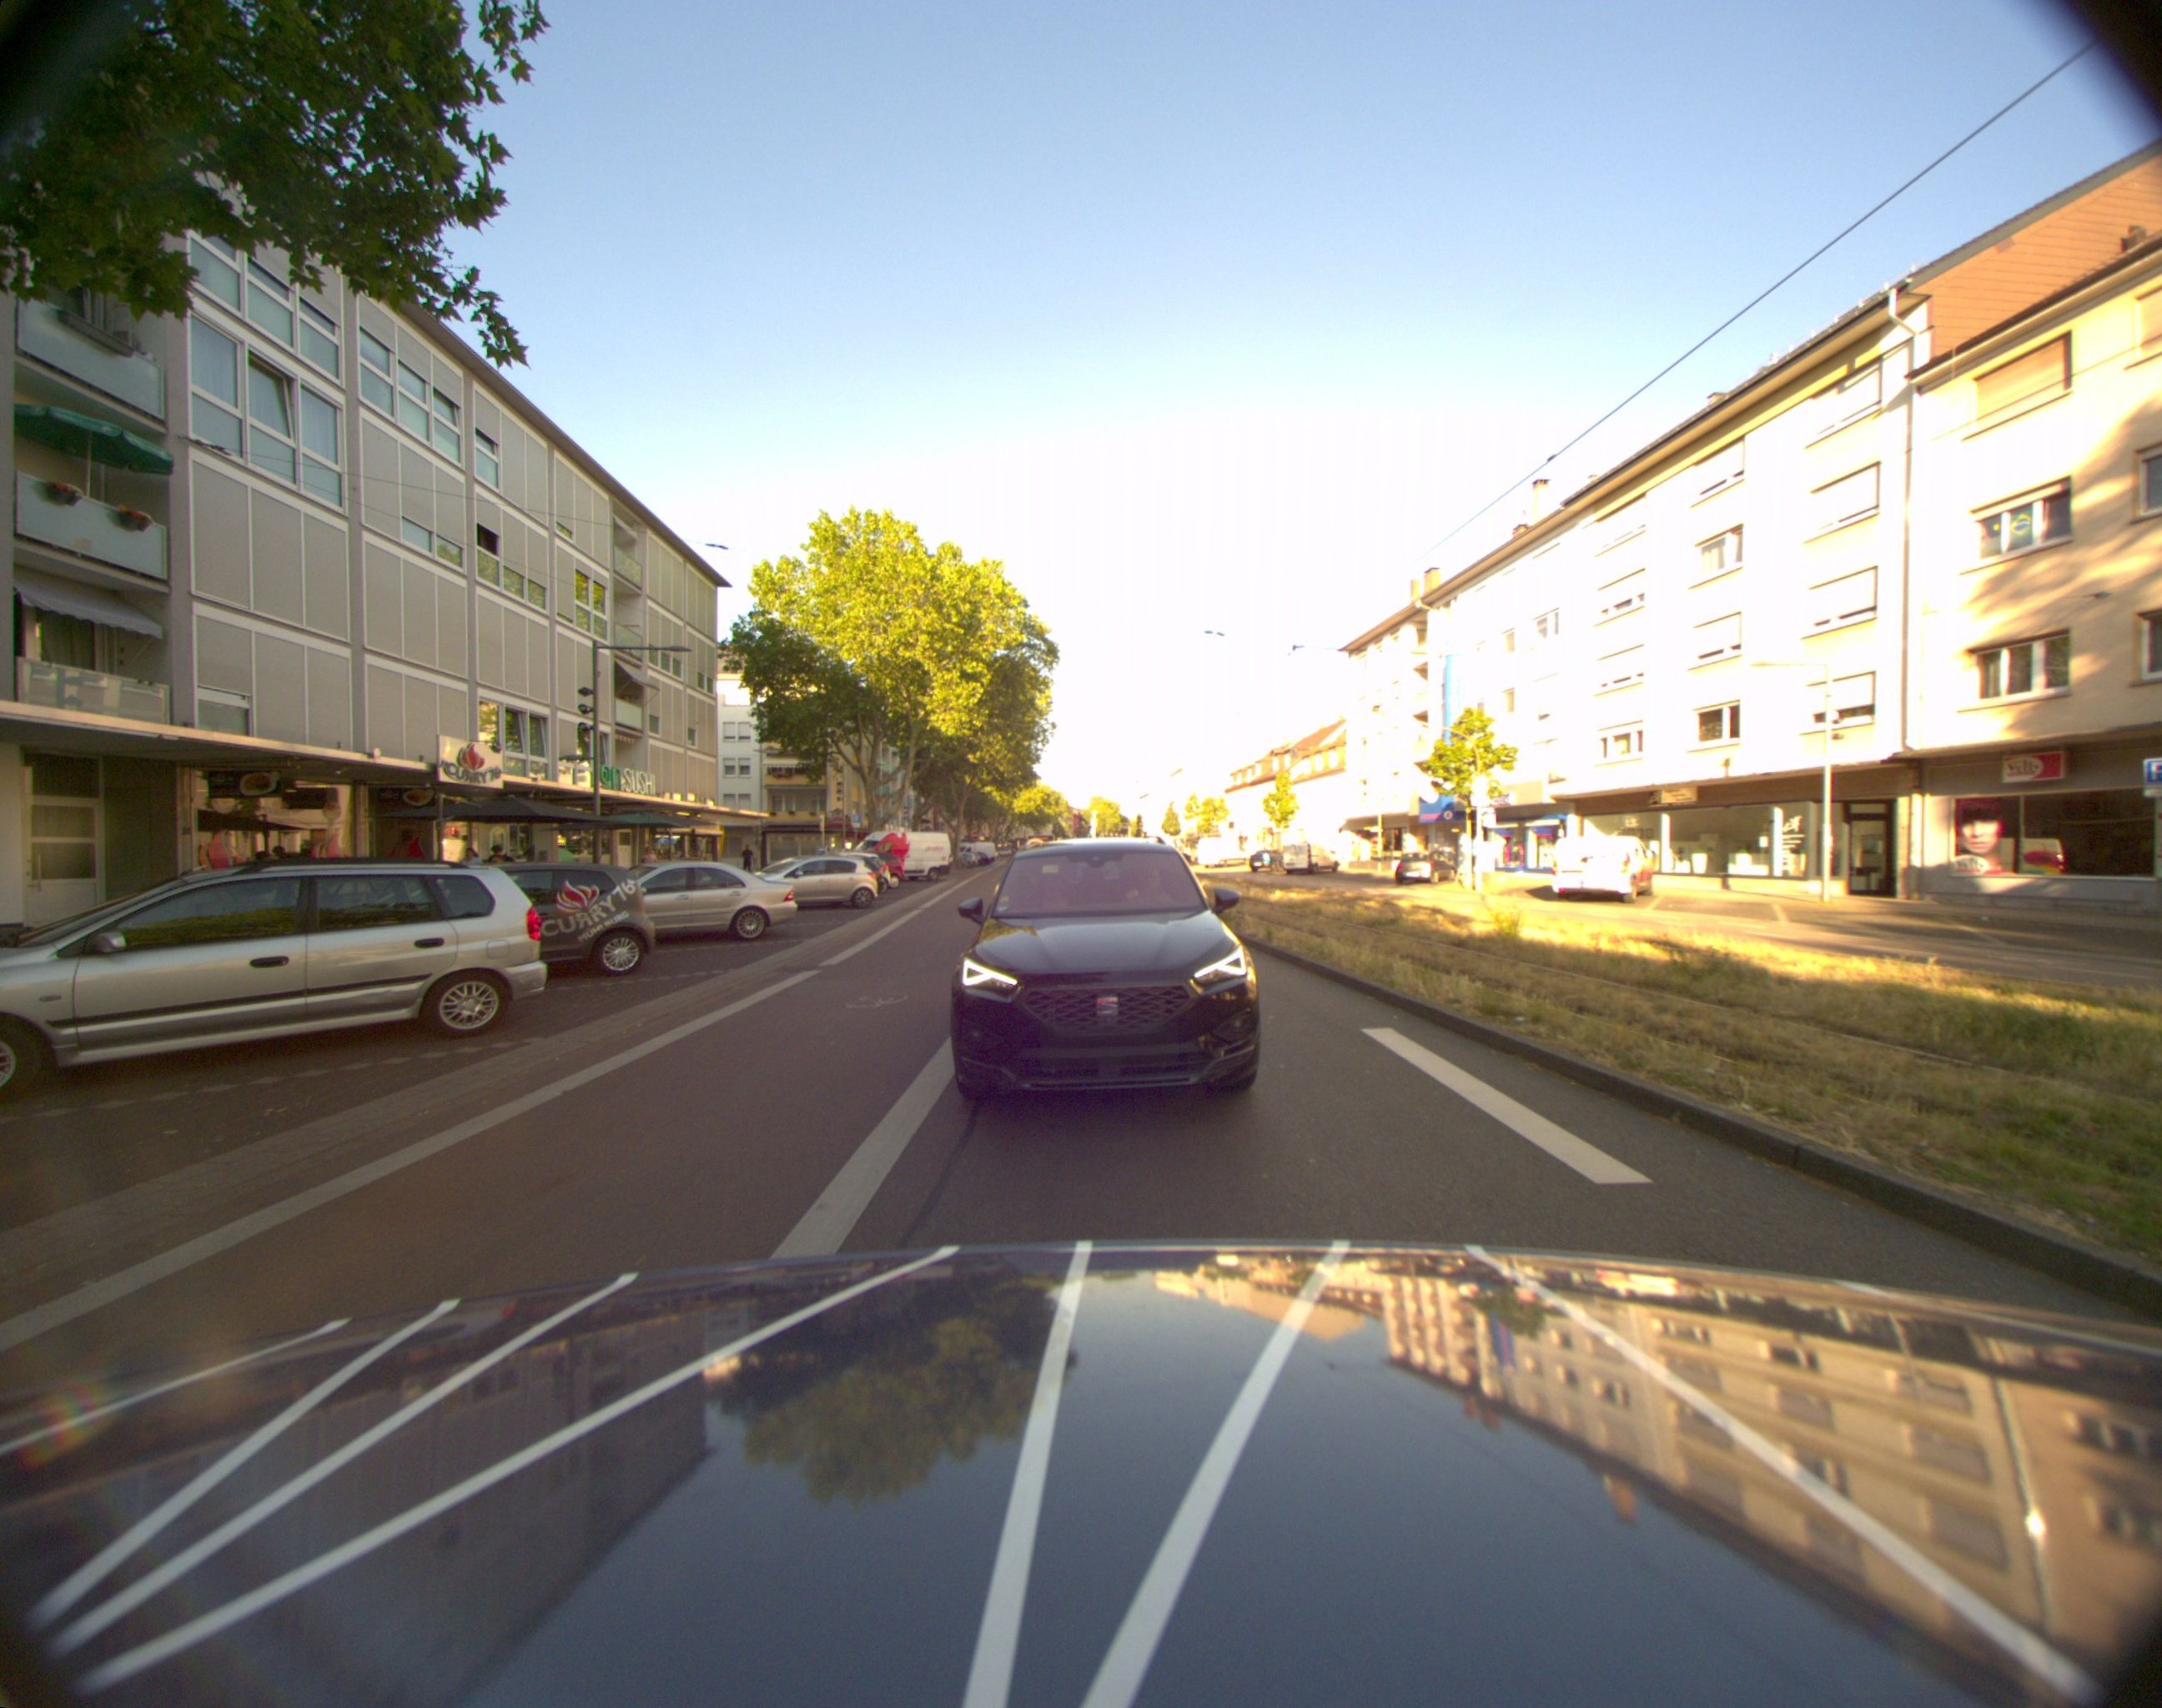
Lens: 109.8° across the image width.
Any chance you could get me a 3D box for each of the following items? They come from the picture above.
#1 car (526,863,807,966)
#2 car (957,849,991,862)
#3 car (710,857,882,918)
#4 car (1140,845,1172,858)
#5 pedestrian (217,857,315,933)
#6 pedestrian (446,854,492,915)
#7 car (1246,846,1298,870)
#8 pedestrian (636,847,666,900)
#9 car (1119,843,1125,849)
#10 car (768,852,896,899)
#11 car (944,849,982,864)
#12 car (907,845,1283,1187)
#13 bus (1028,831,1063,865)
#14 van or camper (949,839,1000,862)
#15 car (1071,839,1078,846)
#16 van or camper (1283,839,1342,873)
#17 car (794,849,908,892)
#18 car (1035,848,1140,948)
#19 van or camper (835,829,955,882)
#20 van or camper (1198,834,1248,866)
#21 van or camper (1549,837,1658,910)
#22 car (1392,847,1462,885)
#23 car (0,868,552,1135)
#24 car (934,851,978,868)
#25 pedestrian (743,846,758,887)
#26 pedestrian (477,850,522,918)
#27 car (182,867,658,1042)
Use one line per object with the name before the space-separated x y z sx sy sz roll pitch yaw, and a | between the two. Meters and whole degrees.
car | -7.125 0.932 13.364 1.654 1.428 4.008 2 2 43
car | -11.392 0.164 81.275 3.337 1.339 1.526 0 2 -44
car | -7.612 0.828 20.509 4.008 1.428 1.654 0 2 -44
car | 10.159 -0.339 103.190 3.921 1.482 1.766 -3 1 -27
pedestrian | -15.157 0.743 14.157 0.750 1.354 0.962 0 1 0
pedestrian | -14.593 0.713 18.129 0.538 1.392 0.686 2 1 -5
car | 13.750 0.279 54.653 1.874 1.577 4.008 -1 1 43
pedestrian | -13.367 0.599 23.650 0.538 1.582 0.686 2 1 -5
car | 12.705 -2.430 235.649 1.869 1.832 3.826 0 1 2
car | -8.792 0.697 27.016 4.008 1.514 1.654 0 2 -44
car | -11.482 0.249 74.022 3.337 1.339 1.526 0 2 -44
car | 0.098 0.788 5.770 1.808 1.638 3.999 -2 1 1
bus | -3.575 -0.713 74.138 2.873 2.962 12.231 -2 2 -4
van or camper | -11.829 -0.374 84.765 1.994 2.455 5.474 1 1 44
car | -1.620 -2.914 193.970 1.740 1.539 3.999 0 1 0
van or camper | 14.586 0.103 47.792 1.795 1.978 4.460 -1 1 41
car | -9.097 0.612 30.211 4.008 1.555 1.654 0 2 -44
car | 0.062 0.681 14.068 1.659 1.572 3.999 0 1 -1
van or camper | -9.111 0.053 37.610 5.474 2.455 1.994 -1 1 -44
van or camper | 12.907 -0.415 68.559 1.994 2.652 6.410 -2 1 34
van or camper | 15.833 0.498 22.897 1.946 1.887 4.824 -1 1 43
car | 15.626 0.505 34.227 1.765 1.482 4.460 -1 1 39
car | -6.910 0.960 6.093 1.804 1.597 4.008 1 1 38
car | -10.554 0.470 64.233 3.337 1.339 1.526 0 2 -44
pedestrian | -16.753 0.625 38.513 0.552 2.002 0.576 -3 1 -18
pedestrian | -13.932 0.707 18.217 0.538 1.582 0.686 2 1 -5
car | -7.573 0.961 9.076 1.804 1.498 4.008 1 1 38
